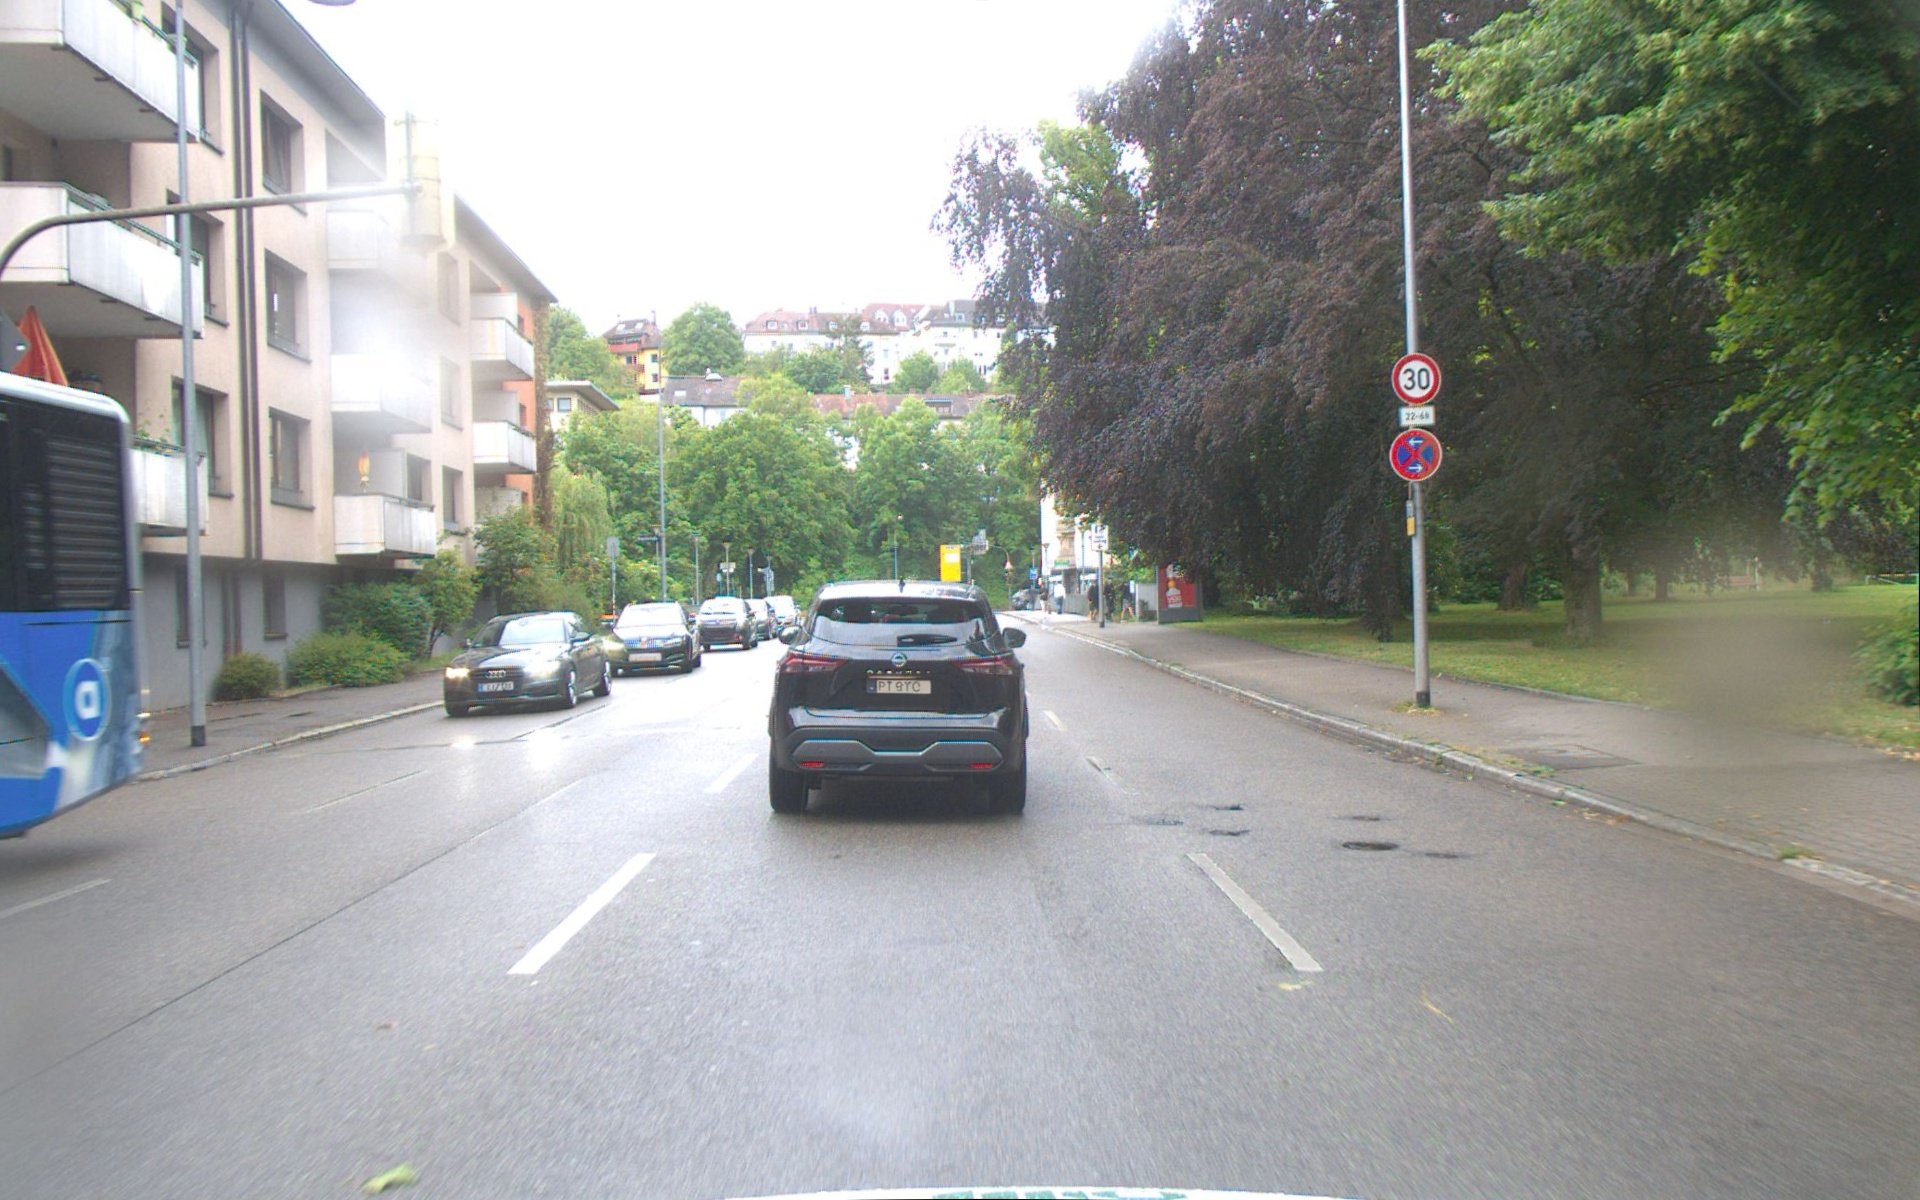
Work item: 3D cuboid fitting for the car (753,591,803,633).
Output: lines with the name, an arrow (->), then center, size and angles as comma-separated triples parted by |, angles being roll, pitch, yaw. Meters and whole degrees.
car -> -7.678, 0.475, 69.956 | 1.715, 1.662, 3.634 | -2, 0, -1

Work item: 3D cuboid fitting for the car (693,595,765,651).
car -> -6.820, 0.654, 49.190 | 1.643, 1.495, 4.215 | -3, 0, -3

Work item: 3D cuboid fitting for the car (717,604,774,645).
car -> -7.661, 0.862, 59.197 | 1.643, 1.318, 3.749 | -3, 0, -3

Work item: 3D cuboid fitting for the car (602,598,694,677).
car -> -6.710, 0.770, 35.878 | 1.715, 1.495, 4.209 | -3, 0, -8

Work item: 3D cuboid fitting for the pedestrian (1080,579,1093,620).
pedestrian -> 5.198, -0.028, 67.930 | 0.465, 1.680, 0.490 | 0, -1, 8

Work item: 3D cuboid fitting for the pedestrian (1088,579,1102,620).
pedestrian -> 5.596, -0.019, 68.418 | 0.533, 1.680, 0.490 | 0, -1, 8

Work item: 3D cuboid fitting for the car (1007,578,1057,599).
car -> 6.278, -1.005, 144.758 | 3.917, 1.713, 1.994 | -2, 0, -12

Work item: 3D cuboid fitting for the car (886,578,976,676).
car -> -0.524, 0.497, 32.497 | 1.588, 1.738, 3.771 | -2, 0, 0

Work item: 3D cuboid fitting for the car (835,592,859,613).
car -> -8.335, 0.169, 122.553 | 1.684, 1.494, 3.683 | -2, 0, -3

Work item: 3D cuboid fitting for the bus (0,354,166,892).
bus -> -6.655, 0.147, 5.323 | 2.710, 3.026, 11.777 | -2, 0, -1

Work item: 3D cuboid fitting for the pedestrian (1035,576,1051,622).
pedestrian -> 3.993, -0.043, 79.369 | 0.752, 2.222, 0.711 | 1, -1, 2

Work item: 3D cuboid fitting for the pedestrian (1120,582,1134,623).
pedestrian -> 6.813, 0.099, 67.451 | 0.504, 1.684, 0.550 | 1, -1, -2

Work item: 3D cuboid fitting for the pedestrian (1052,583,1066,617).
pedestrian -> 5.313, -0.006, 88.498 | 0.606, 1.810, 0.778 | -2, 0, -2

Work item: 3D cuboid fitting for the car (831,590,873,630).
car -> -5.141, 0.463, 79.127 | 1.728, 1.788, 3.634 | -2, 0, -1

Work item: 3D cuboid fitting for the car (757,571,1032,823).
car -> -0.471, 0.648, 12.734 | 1.770, 1.618, 3.999 | 1, -1, -2

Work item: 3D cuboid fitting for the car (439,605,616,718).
car -> -6.615, 0.885, 25.755 | 1.740, 1.495, 4.215 | -3, 0, -3

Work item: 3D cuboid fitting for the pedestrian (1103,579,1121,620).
pedestrian -> 6.333, -0.008, 68.777 | 0.684, 1.680, 0.629 | 0, -1, 8
